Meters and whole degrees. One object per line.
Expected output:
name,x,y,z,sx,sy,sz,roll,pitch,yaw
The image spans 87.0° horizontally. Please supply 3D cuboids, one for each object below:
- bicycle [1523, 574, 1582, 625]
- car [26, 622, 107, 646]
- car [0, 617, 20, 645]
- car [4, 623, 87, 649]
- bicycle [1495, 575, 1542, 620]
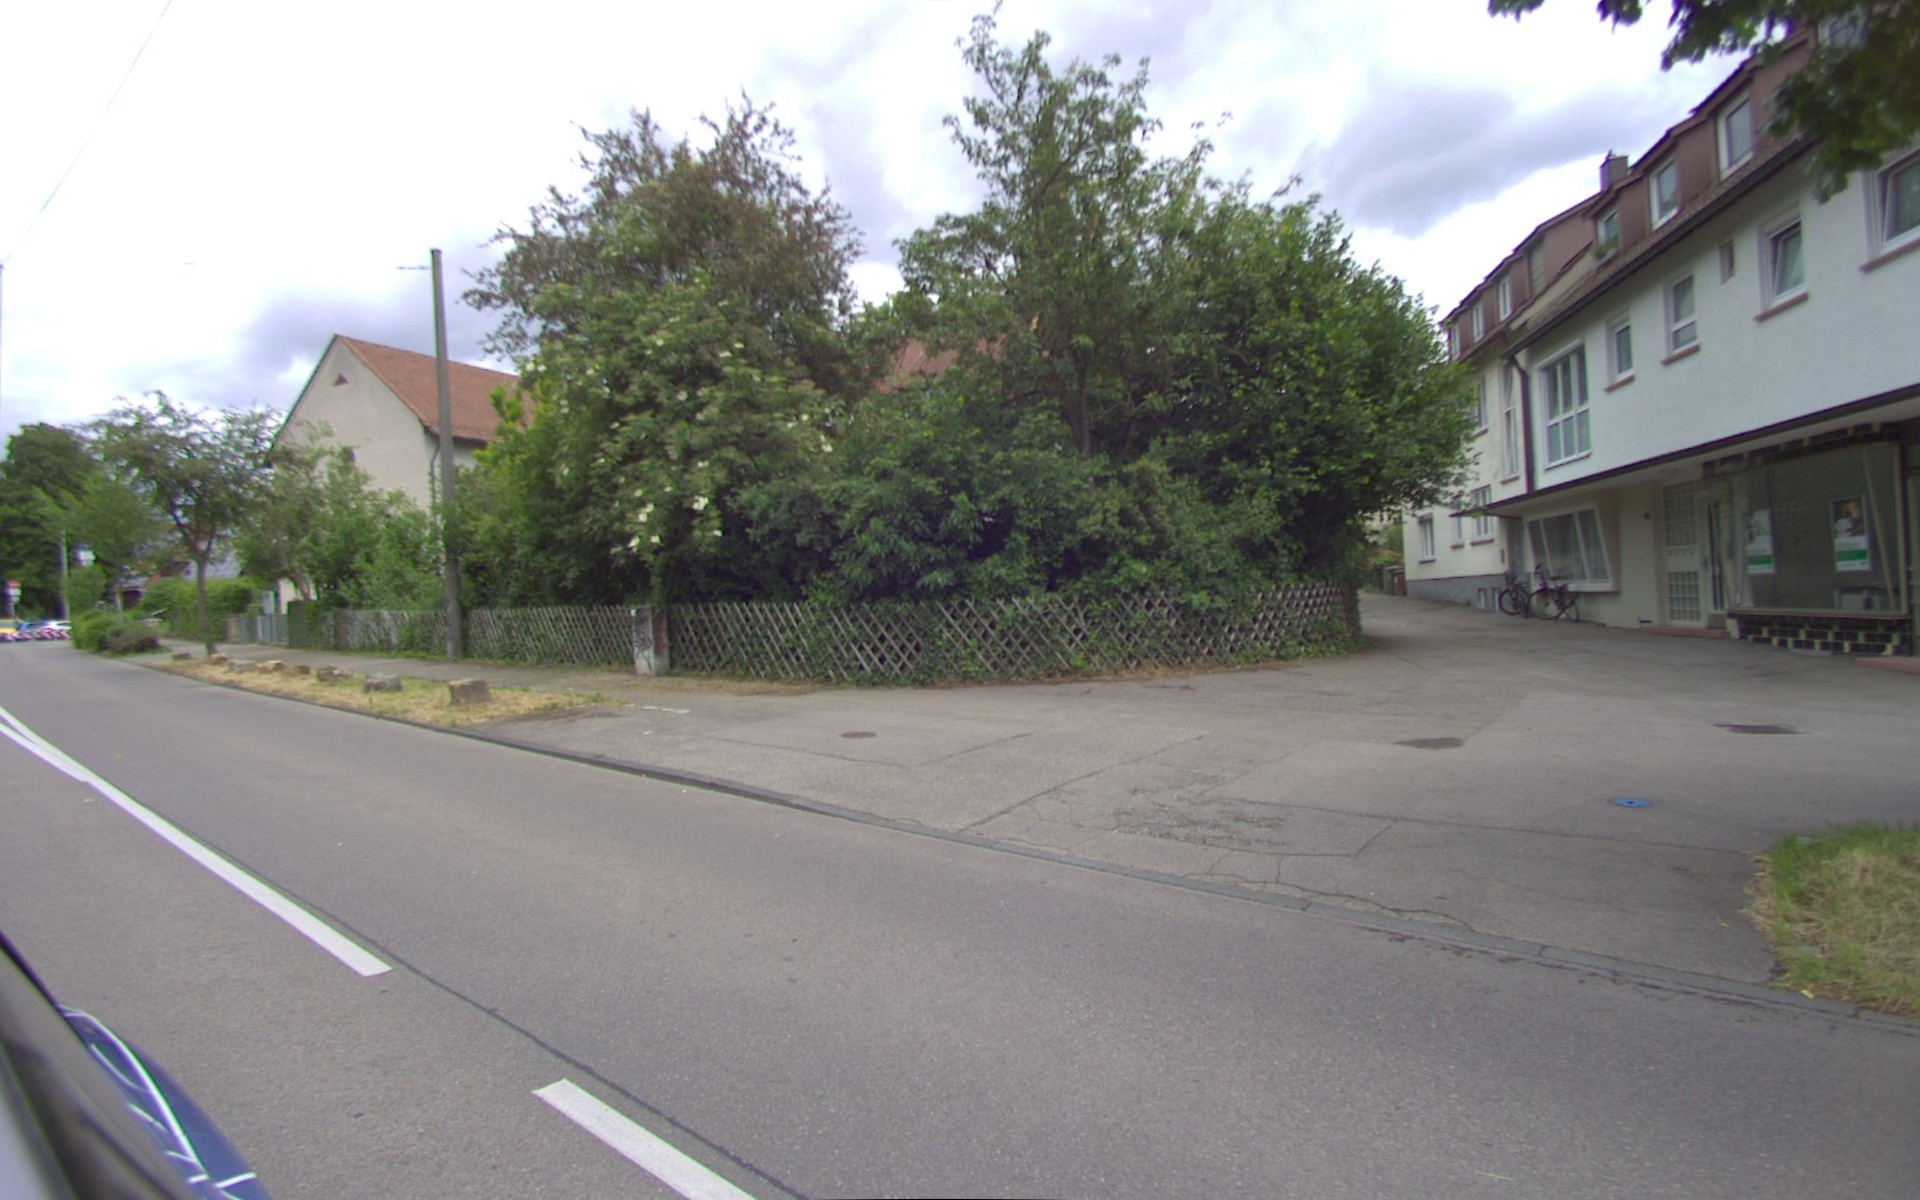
bicycle,11.909,-0.020,20.378,0.655,0.919,1.636,-3,2,18
car,-62.470,2.370,70.824,1.840,1.483,3.862,-4,-1,33
car,-71.922,2.333,75.914,1.894,2.004,4.803,-2,0,-45
car,-64.710,2.520,71.635,1.844,1.558,4.123,-4,-1,40
bicycle,12.317,-0.066,22.350,0.631,0.891,1.396,-3,2,18
